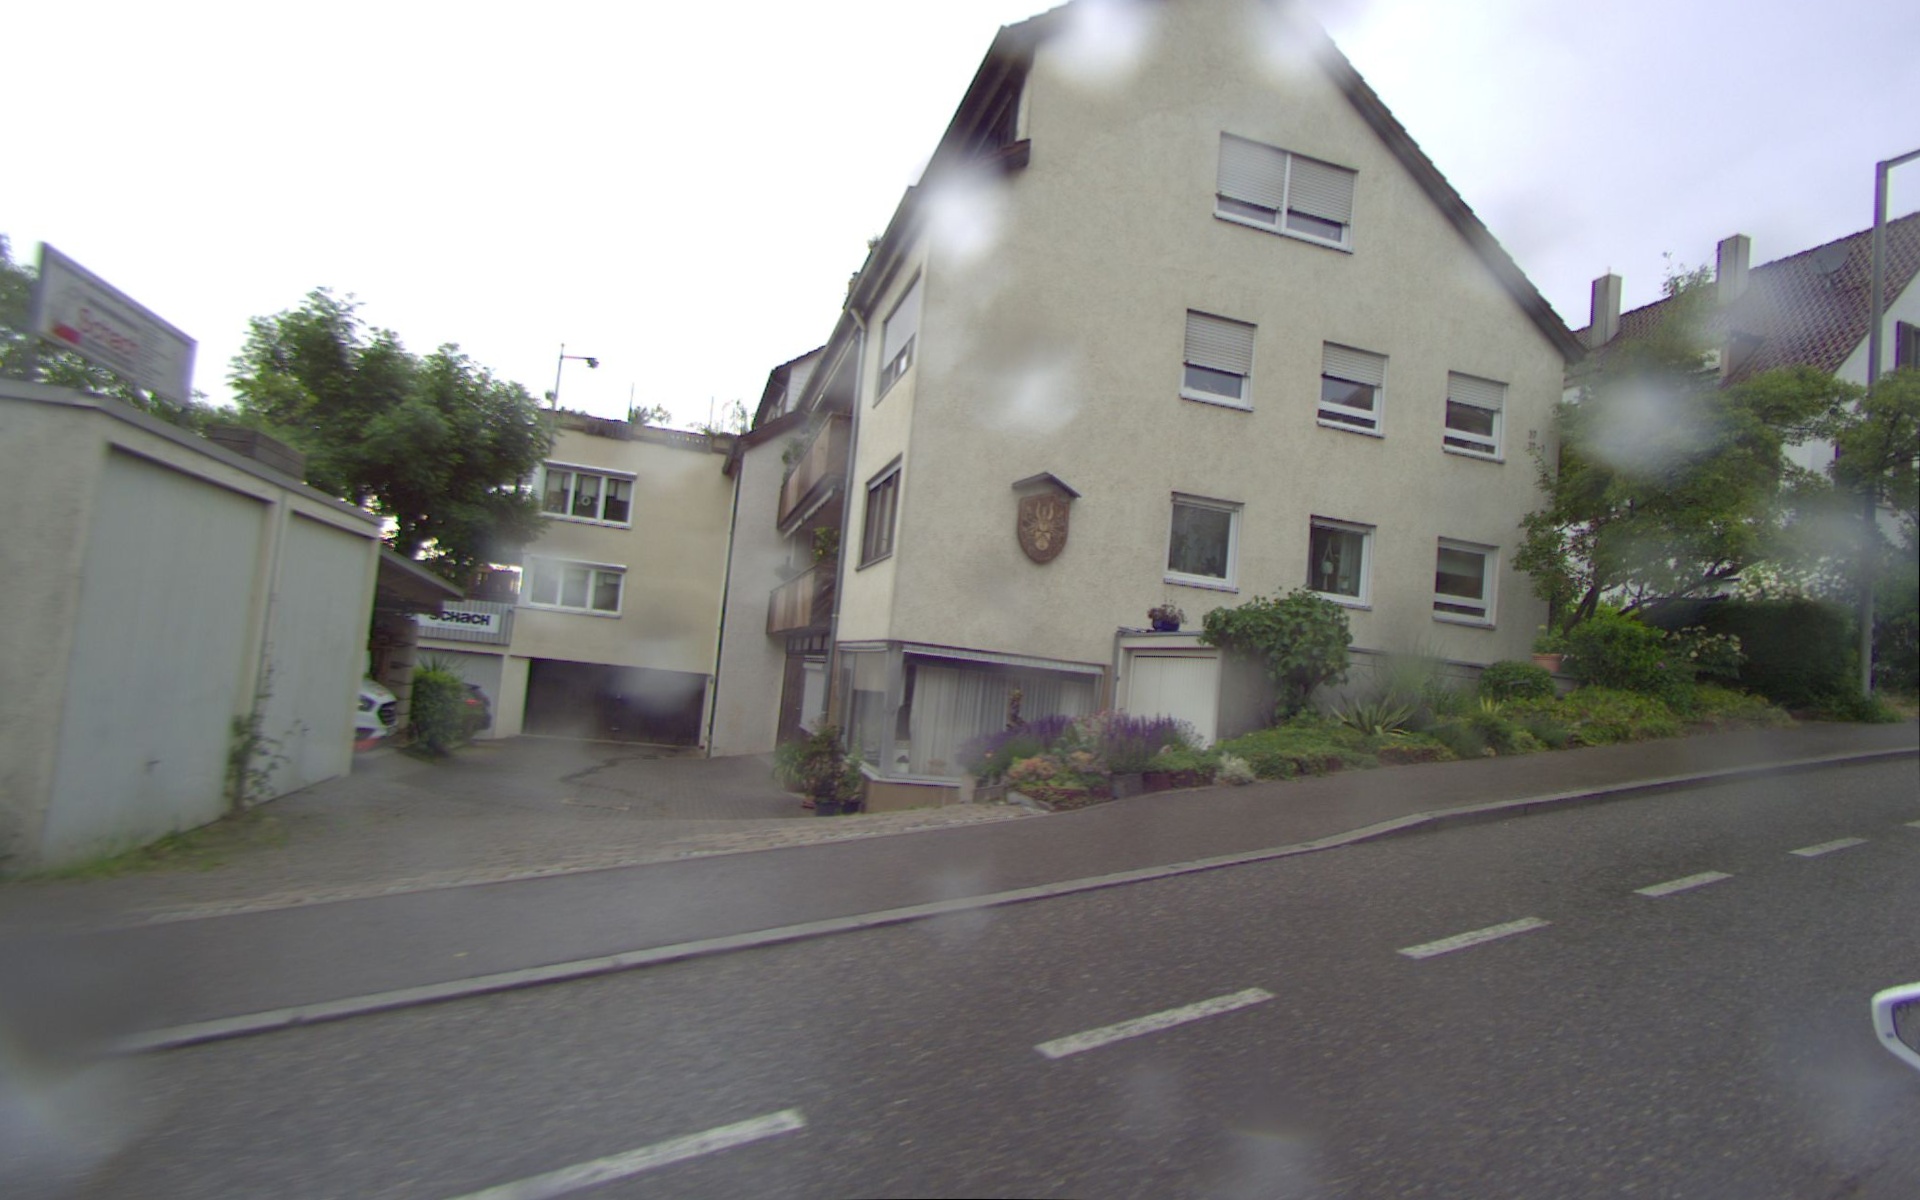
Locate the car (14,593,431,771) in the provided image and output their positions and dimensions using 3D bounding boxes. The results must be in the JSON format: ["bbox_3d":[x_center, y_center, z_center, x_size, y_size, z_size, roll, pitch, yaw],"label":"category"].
[{"bbox_3d":[-9.875,1.187,13.926,4.047,2.026,1.967,5,-6,-18],"label":"car"}]

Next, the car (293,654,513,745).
[{"bbox_3d":[-12.610,2.294,23.071,3.939,1.749,1.993,5,-6,-18],"label":"car"}]
